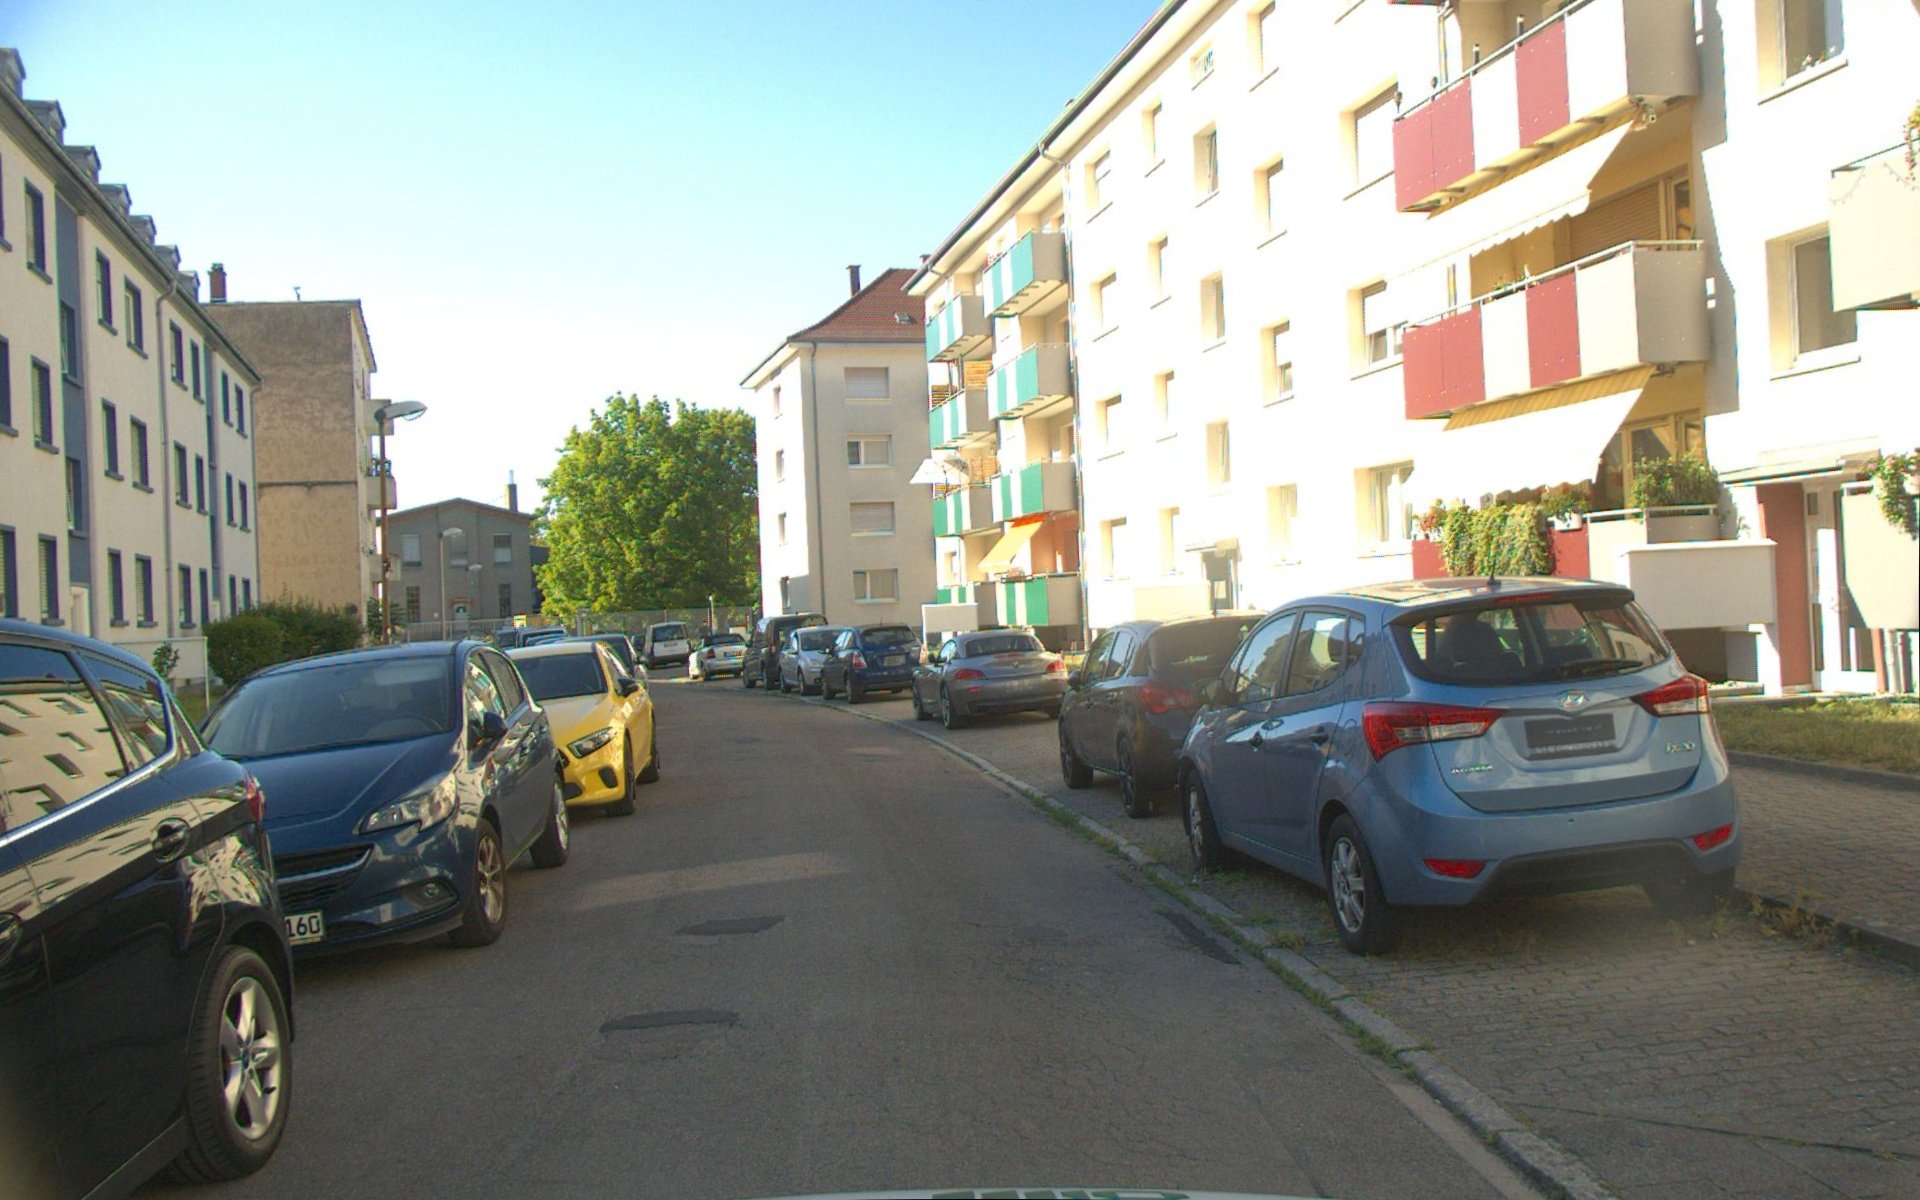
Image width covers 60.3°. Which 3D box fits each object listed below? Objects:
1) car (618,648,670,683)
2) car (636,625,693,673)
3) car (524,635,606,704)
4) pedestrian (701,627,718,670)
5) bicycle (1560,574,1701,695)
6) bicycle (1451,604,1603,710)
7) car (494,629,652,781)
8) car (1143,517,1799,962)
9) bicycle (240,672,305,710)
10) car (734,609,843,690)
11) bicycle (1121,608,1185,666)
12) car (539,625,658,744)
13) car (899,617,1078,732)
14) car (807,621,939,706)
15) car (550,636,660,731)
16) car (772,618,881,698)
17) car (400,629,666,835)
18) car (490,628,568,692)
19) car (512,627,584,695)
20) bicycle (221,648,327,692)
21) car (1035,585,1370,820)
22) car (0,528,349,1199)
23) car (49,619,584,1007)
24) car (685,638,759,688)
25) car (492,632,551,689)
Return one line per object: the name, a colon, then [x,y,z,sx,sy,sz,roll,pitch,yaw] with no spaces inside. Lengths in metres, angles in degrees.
car: [-13.991,2.892,73.052,1.738,1.386,4.074,-4,-1,-17]
car: [-12.240,2.055,68.371,1.738,1.770,4.074,-4,-1,-17]
car: [-9.802,1.713,40.840,1.633,1.468,3.852,-4,-1,-17]
pedestrian: [-11.262,2.181,74.400,0.642,1.847,0.613,-4,-1,-8]
bicycle: [6.988,0.369,17.317,0.400,1.170,1.757,-4,-1,-11]
bicycle: [5.948,0.574,17.470,0.606,0.995,1.891,-6,1,-10]
car: [-4.522,1.161,19.789,1.541,1.490,4.250,-4,0,-11]
car: [2.342,0.587,8.796,1.733,1.664,4.034,-5,0,-7]
bicycle: [-19.718,2.606,47.451,1.620,0.953,0.545,-4,-1,-16]
car: [-4.509,1.320,42.876,1.868,1.888,4.320,-3,-2,-18]
bicycle: [3.958,0.753,34.002,0.639,1.086,1.727,-7,1,-14]
car: [-5.447,1.251,25.242,1.452,1.502,3.622,-6,-1,-10]
car: [0.313,1.054,24.330,1.656,1.387,4.227,-5,-1,-12]
car: [-1.828,1.272,33.330,1.709,1.456,4.337,-4,-1,-15]
car: [-6.540,1.498,30.514,1.714,1.456,4.583,-5,-1,-12]
car: [-3.116,1.322,37.916,1.655,1.615,3.993,-3,-1,-17]
car: [-3.573,1.025,14.527,1.662,1.413,4.149,-4,0,-7]
car: [-11.986,1.680,45.870,1.805,1.541,3.979,-4,-1,-18]
car: [-12.656,1.881,50.657,1.867,1.888,4.174,-3,-2,-17]
bicycle: [-18.657,1.897,45.035,2.633,1.150,0.767,0,-2,-24]
car: [1.859,0.781,13.950,1.703,1.534,3.878,-5,-1,-7]
car: [-2.690,0.731,3.028,1.661,1.587,4.153,-6,0,-3]
car: [-3.126,0.903,8.906,1.662,1.470,4.013,-4,0,-7]
car: [-7.642,1.979,52.939,1.690,1.388,4.035,-4,0,-17]
car: [-17.422,2.410,65.586,1.963,2.048,4.431,-4,-1,-17]
